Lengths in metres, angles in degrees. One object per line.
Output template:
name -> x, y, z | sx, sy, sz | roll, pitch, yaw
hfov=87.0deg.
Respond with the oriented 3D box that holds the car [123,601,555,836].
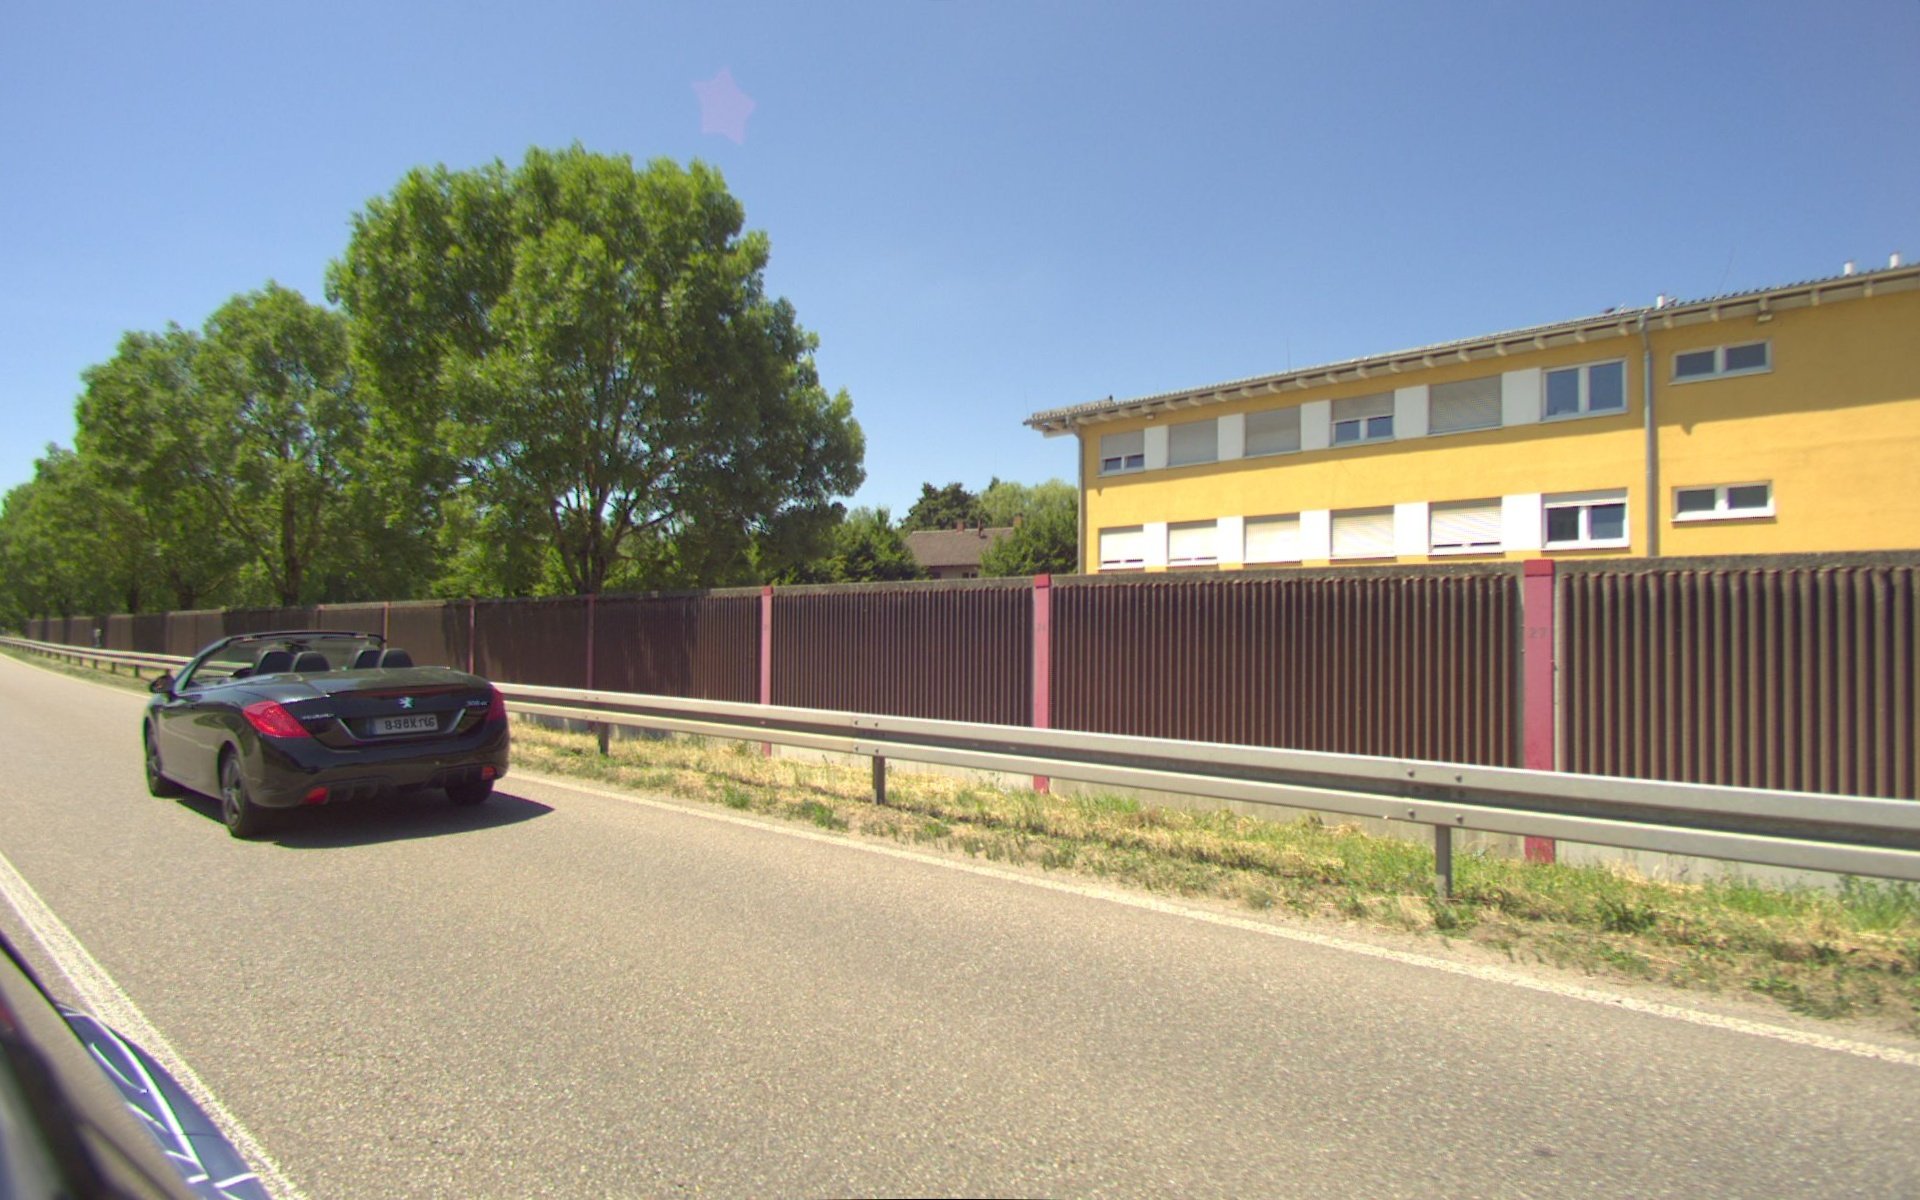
car -> -5.159, 0.757, 8.166 | 4.188, 1.400, 1.826 | -2, -1, 41
